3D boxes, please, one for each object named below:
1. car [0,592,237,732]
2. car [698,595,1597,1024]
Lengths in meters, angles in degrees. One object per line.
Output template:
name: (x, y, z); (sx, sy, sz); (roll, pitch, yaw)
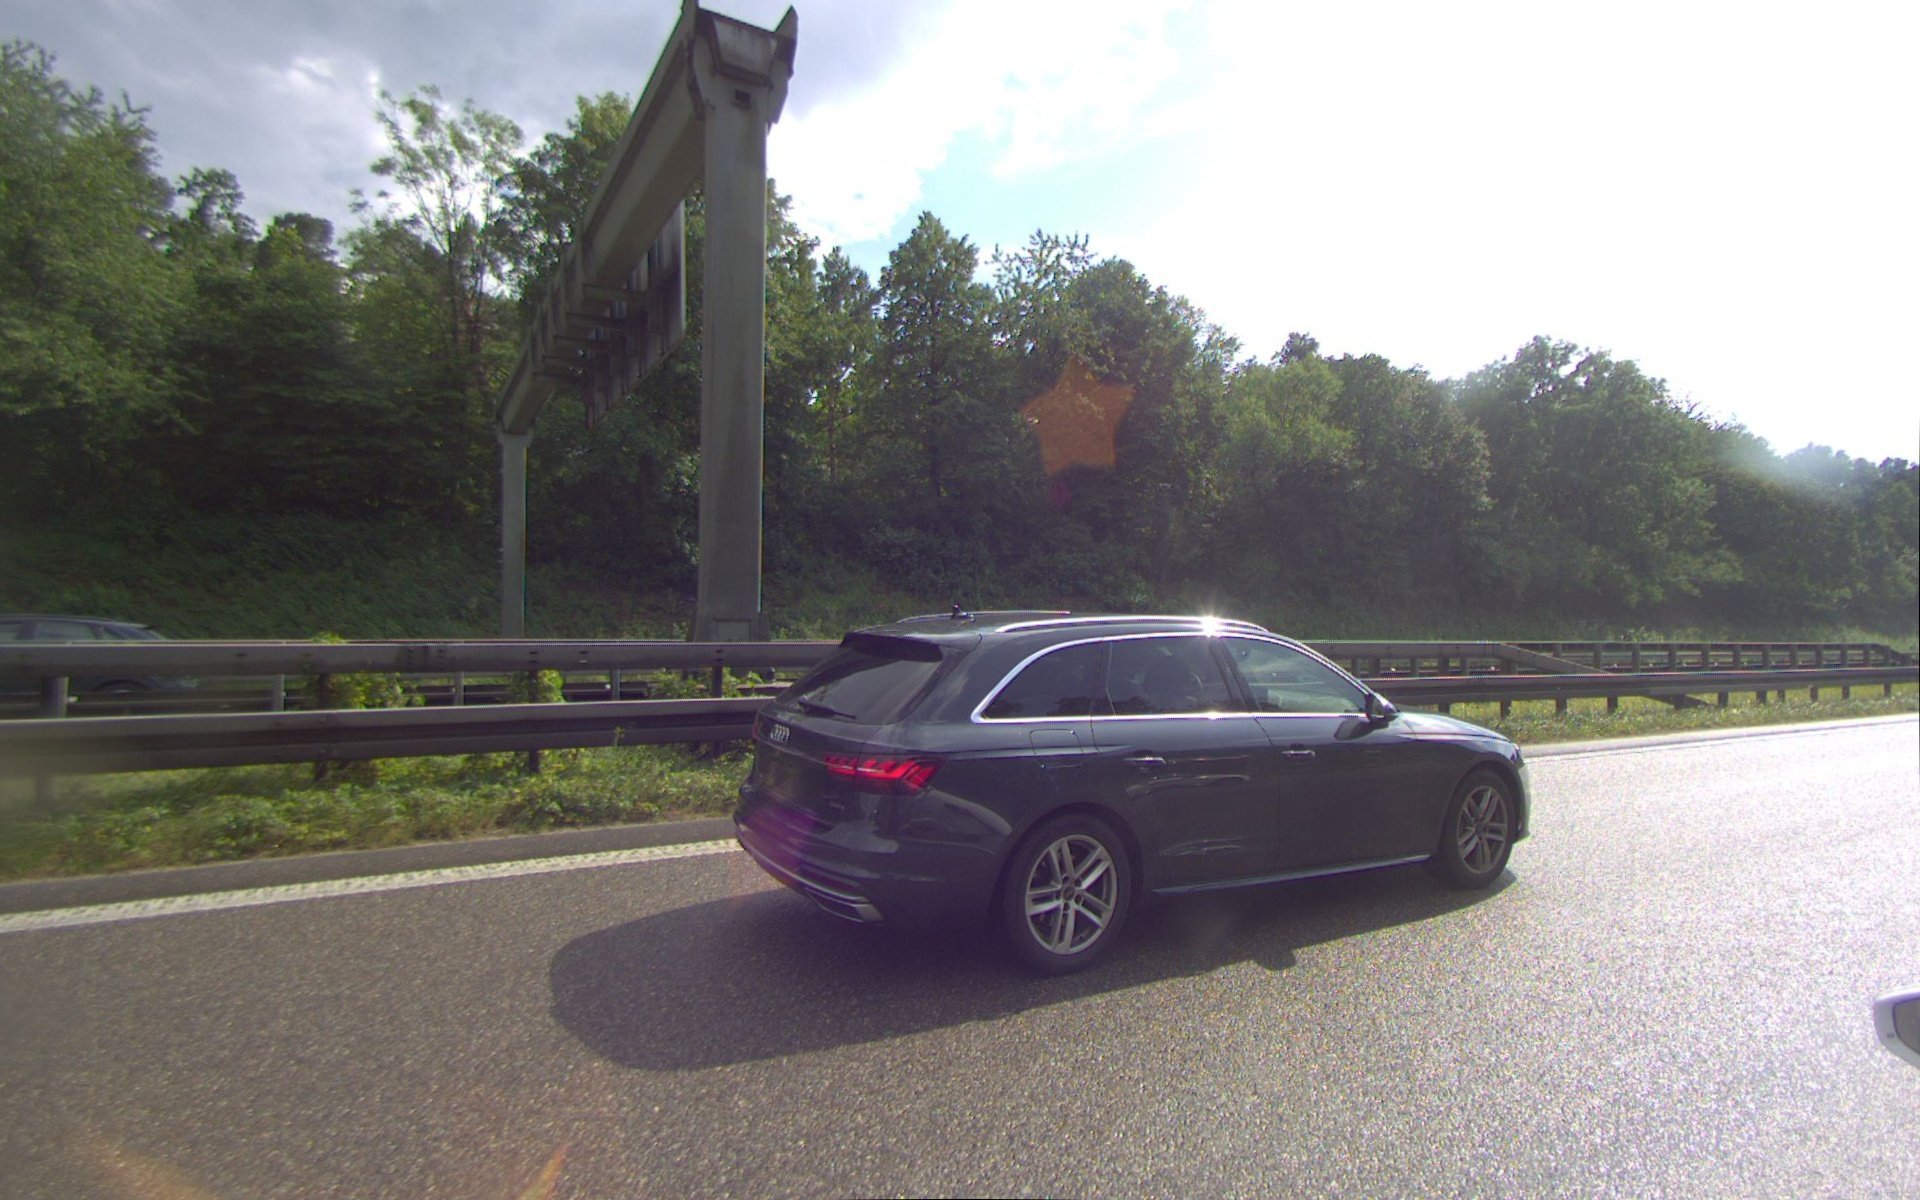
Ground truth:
car: (-12.180, 0.773, 13.341); (3.953, 1.697, 1.984); (2, 0, -30)
car: (1.220, 0.763, 5.413); (4.784, 1.437, 1.785); (2, 0, -31)
